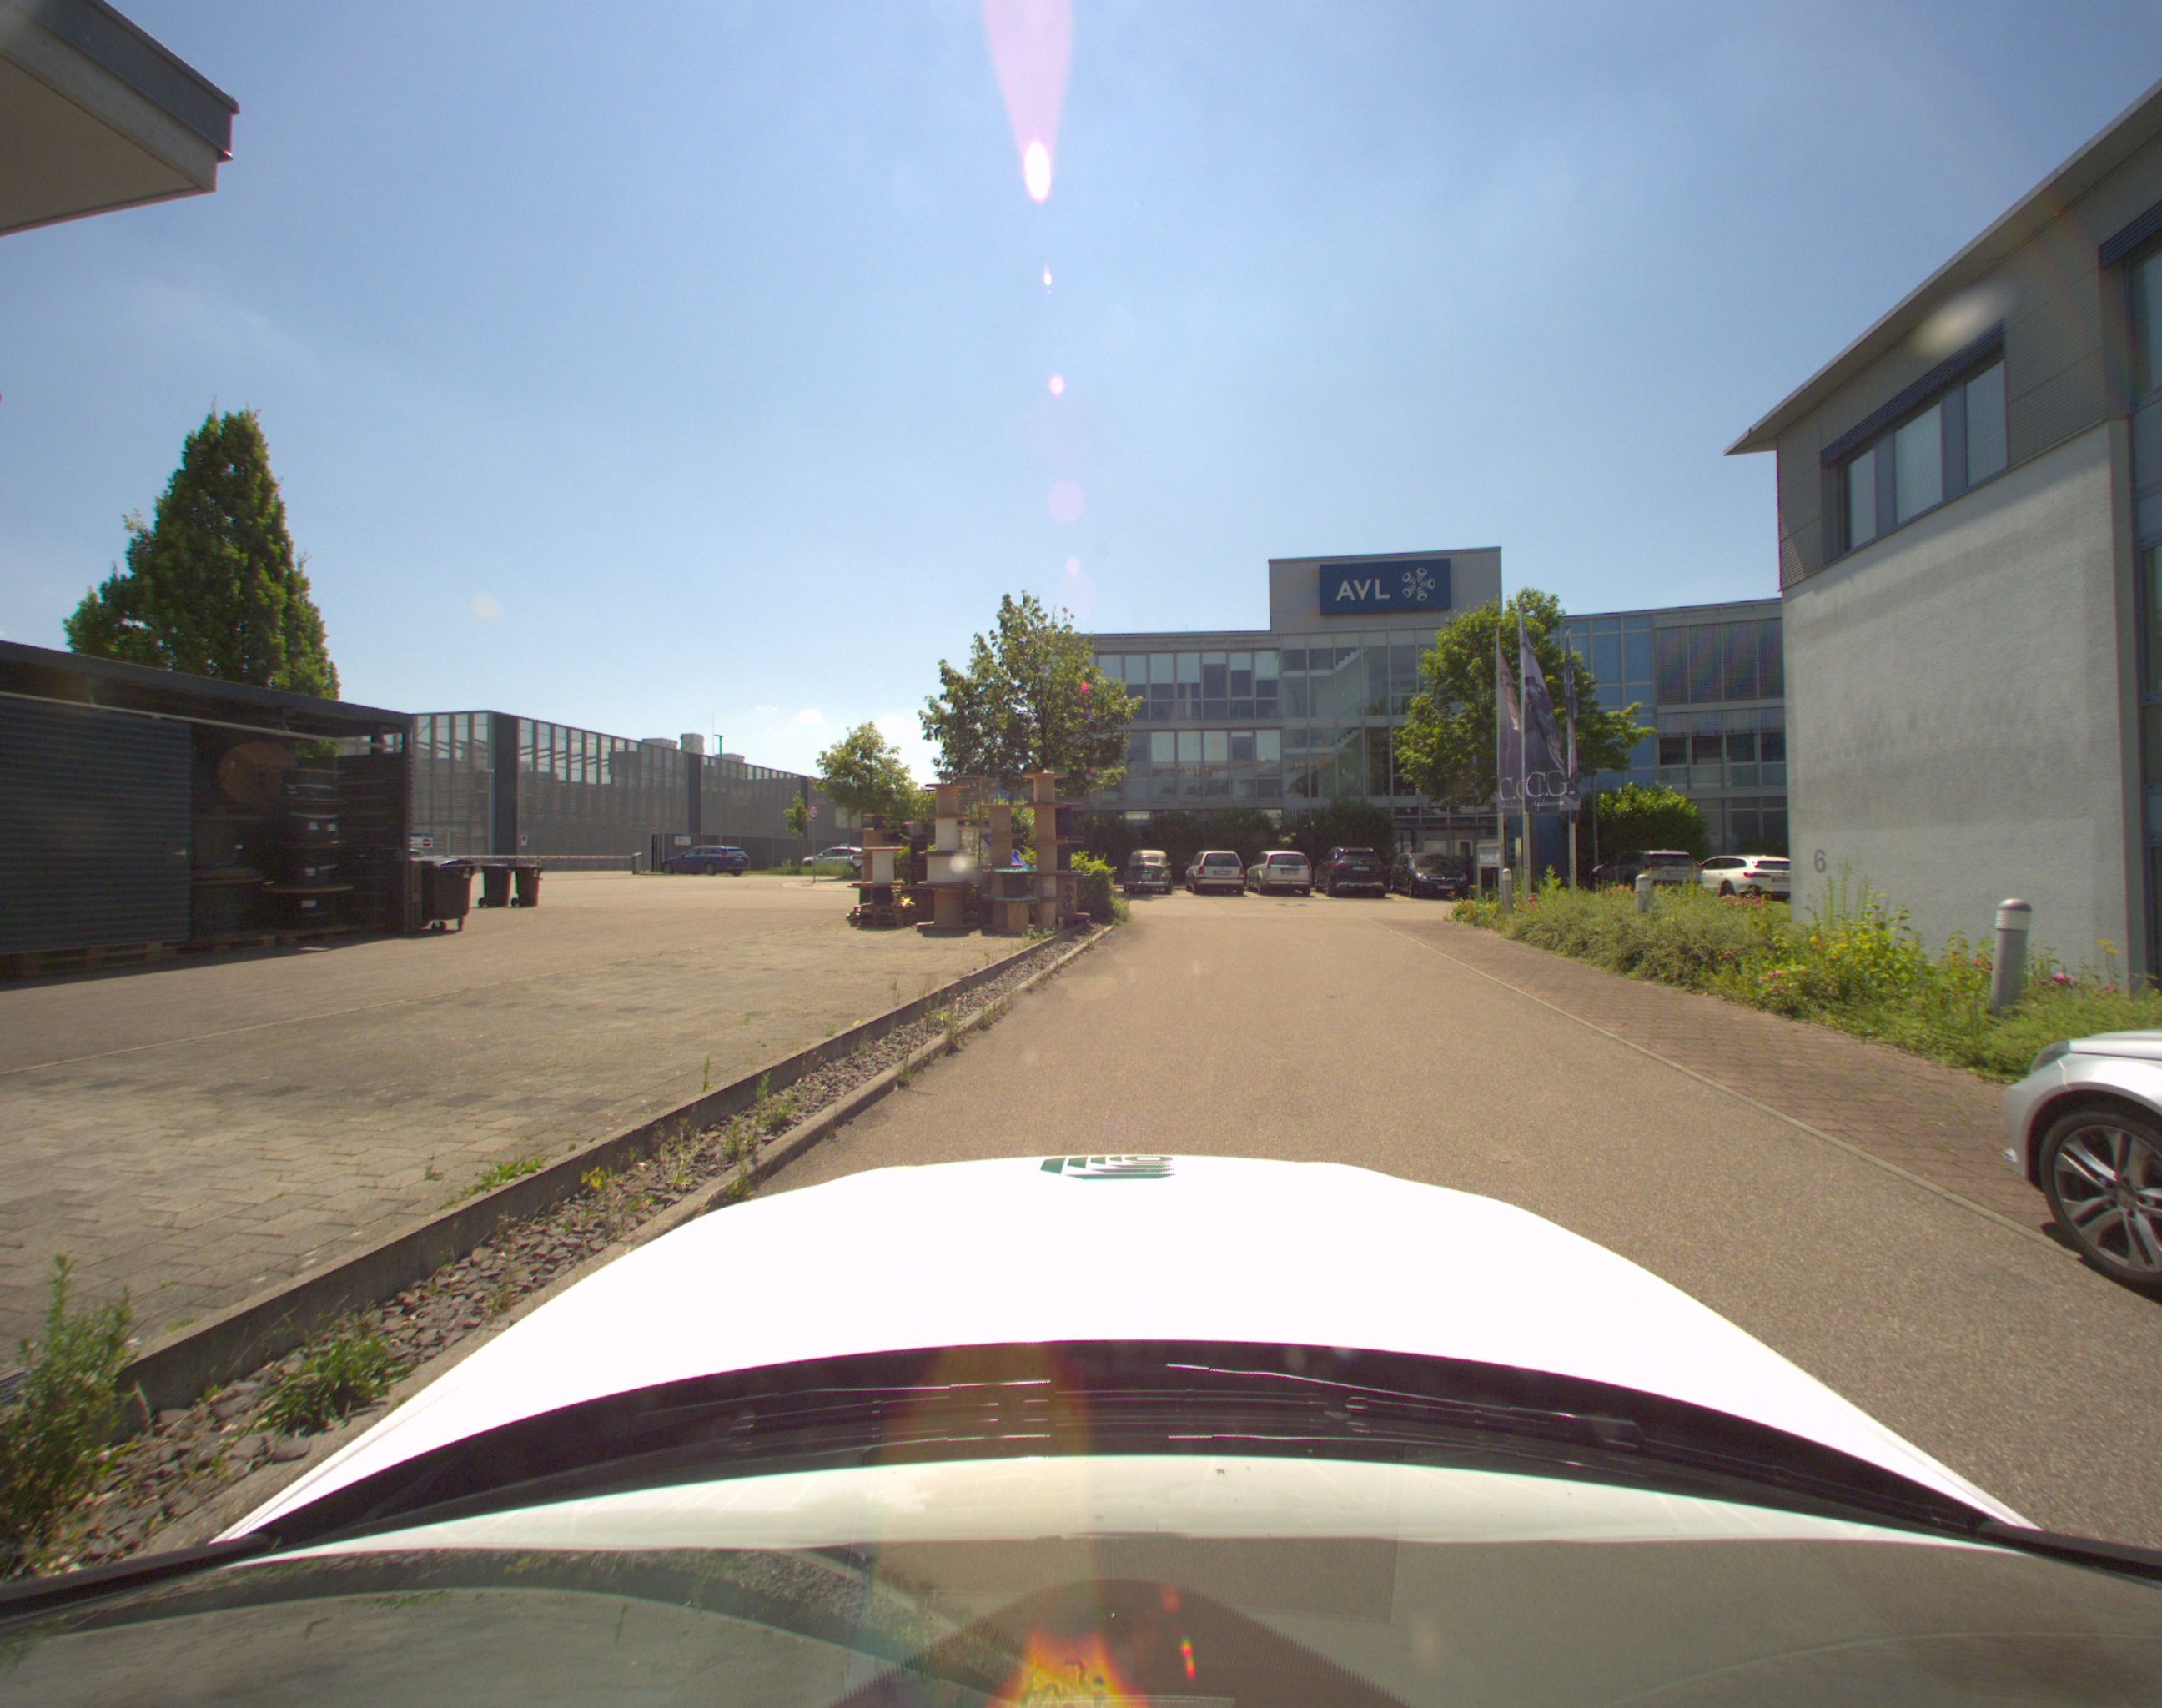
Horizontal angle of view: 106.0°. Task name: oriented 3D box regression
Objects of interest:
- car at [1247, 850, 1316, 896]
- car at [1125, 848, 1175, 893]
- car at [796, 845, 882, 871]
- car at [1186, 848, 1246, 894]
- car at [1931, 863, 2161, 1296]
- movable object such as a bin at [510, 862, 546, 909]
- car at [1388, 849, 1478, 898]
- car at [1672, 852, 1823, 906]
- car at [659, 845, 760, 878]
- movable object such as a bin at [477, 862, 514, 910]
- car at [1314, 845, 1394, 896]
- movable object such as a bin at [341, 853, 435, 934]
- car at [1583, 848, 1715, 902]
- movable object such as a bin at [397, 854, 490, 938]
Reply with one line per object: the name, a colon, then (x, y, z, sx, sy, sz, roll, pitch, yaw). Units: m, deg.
car: (6.980, 0.611, 28.662, 1.757, 1.449, 3.658, 1, 1, 4)
car: (2.447, 0.525, 28.433, 1.533, 1.449, 3.662, 1, 1, 8)
car: (-14.667, 0.217, 49.307, 4.796, 1.491, 2.011, 1, 1, 23)
car: (4.630, 0.548, 28.367, 1.724, 1.449, 3.658, 1, 1, 4)
car: (4.082, 0.723, 1.195, 1.787, 1.398, 4.435, 0, 0, 13)
movable object such as a bin: (-12.260, 0.689, 18.059, 0.579, 1.036, 0.422, 0, 0, -24)
car: (11.818, 0.604, 27.646, 1.760, 1.482, 4.269, 0, 1, 8)
car: (20.957, 0.728, 25.874, 1.726, 1.491, 4.350, 1, 1, 8)
car: (-18.314, 0.325, 40.145, 4.460, 1.491, 2.011, 1, 1, 23)
movable object such as a bin: (-12.807, 0.698, 17.818, 0.582, 1.027, 0.422, 0, 0, -24)
car: (9.289, 0.505, 28.033, 1.916, 1.610, 3.996, 1, 1, 8)
movable object such as a bin: (-11.782, 0.646, 13.867, 0.702, 1.330, 0.977, 0, 0, 15)
car: (18.448, 0.618, 26.695, 1.809, 1.619, 4.350, 0, 1, 8)
movable object such as a bin: (-10.552, 0.675, 13.502, 0.805, 1.345, 0.888, 0, 0, 15)
